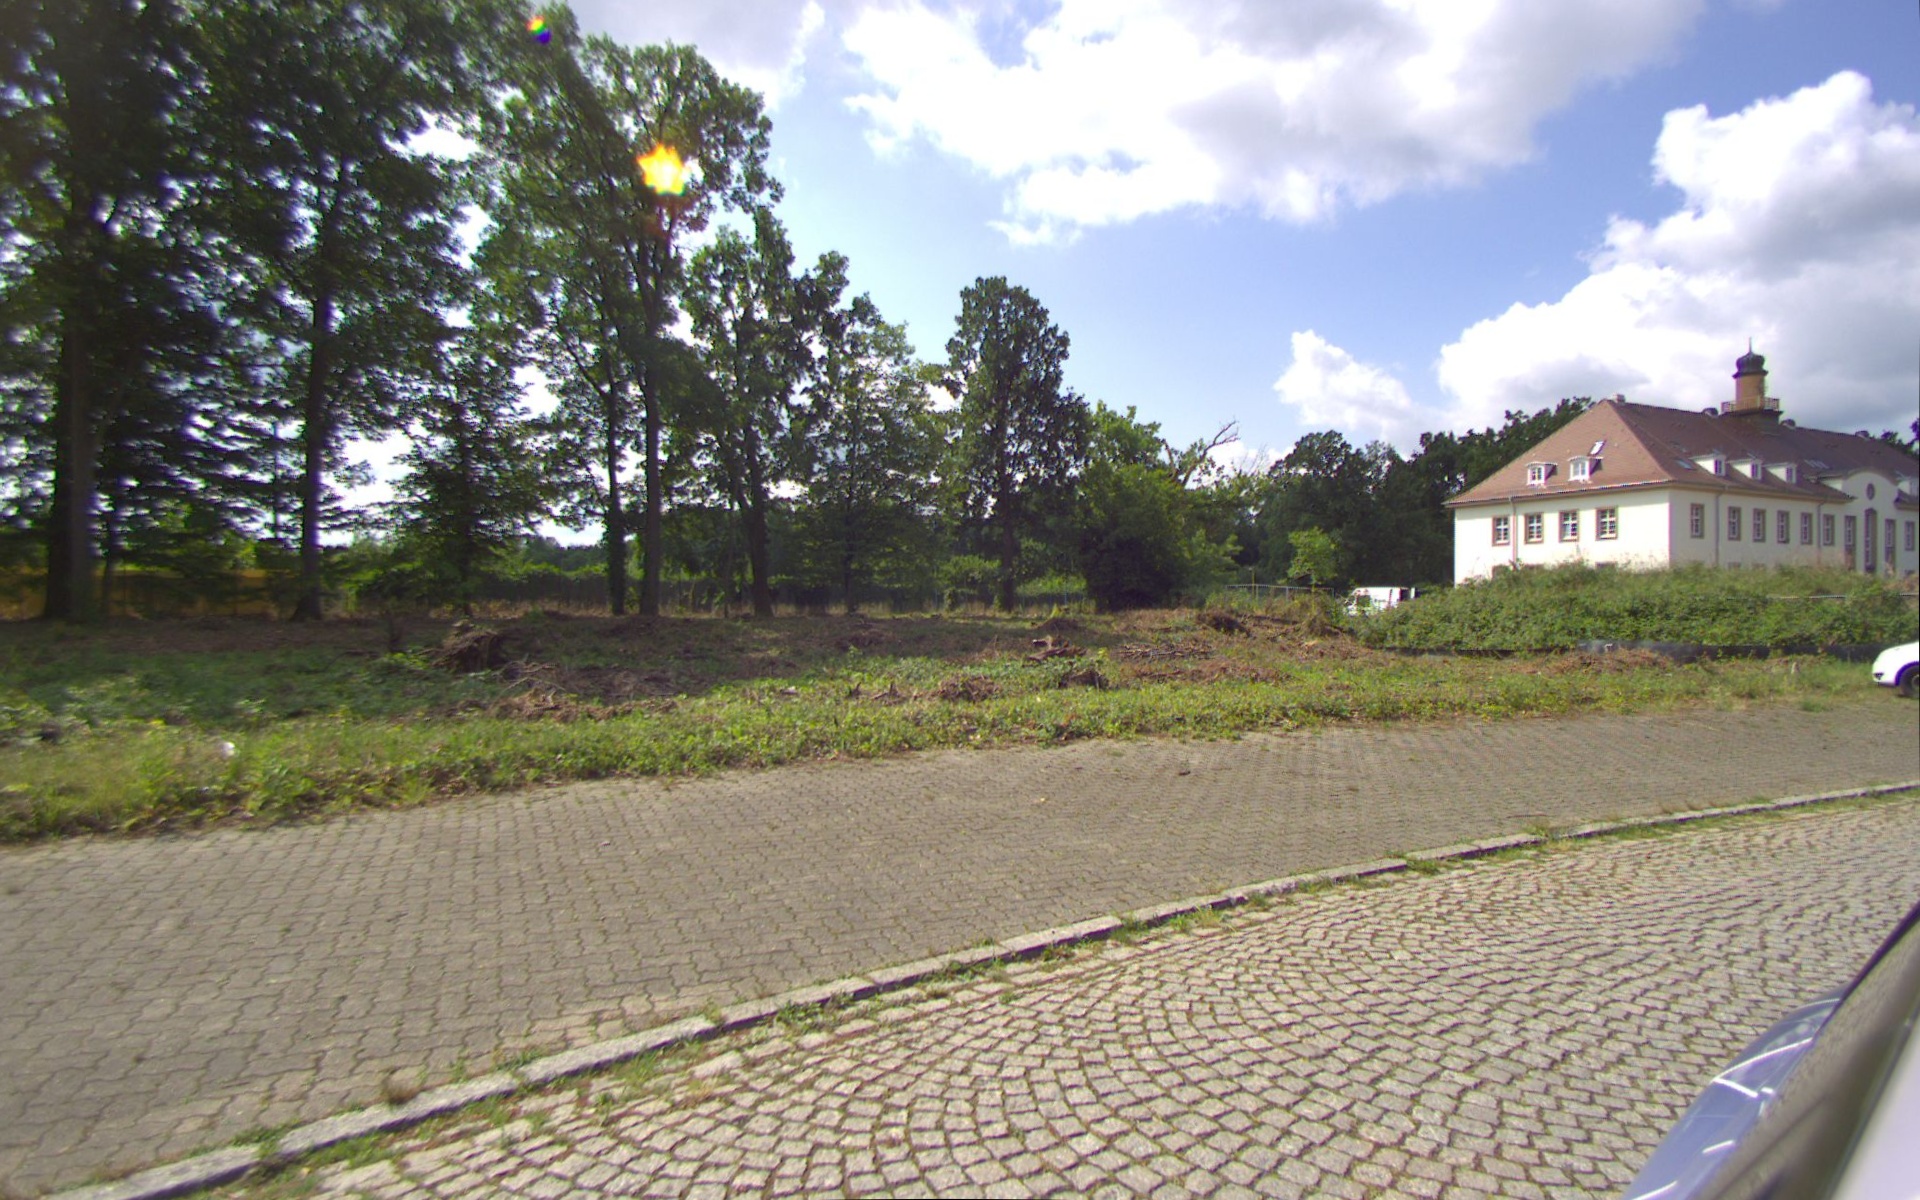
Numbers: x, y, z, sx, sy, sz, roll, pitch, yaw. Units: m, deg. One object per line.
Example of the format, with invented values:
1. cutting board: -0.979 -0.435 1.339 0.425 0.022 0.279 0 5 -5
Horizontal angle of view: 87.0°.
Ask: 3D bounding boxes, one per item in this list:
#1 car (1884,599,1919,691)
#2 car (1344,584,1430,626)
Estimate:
1. car: 17.167 0.798 15.540 1.669 1.482 4.062 0 2 -27
2. car: 27.839 0.304 66.213 2.200 2.624 5.450 0 0 -16
